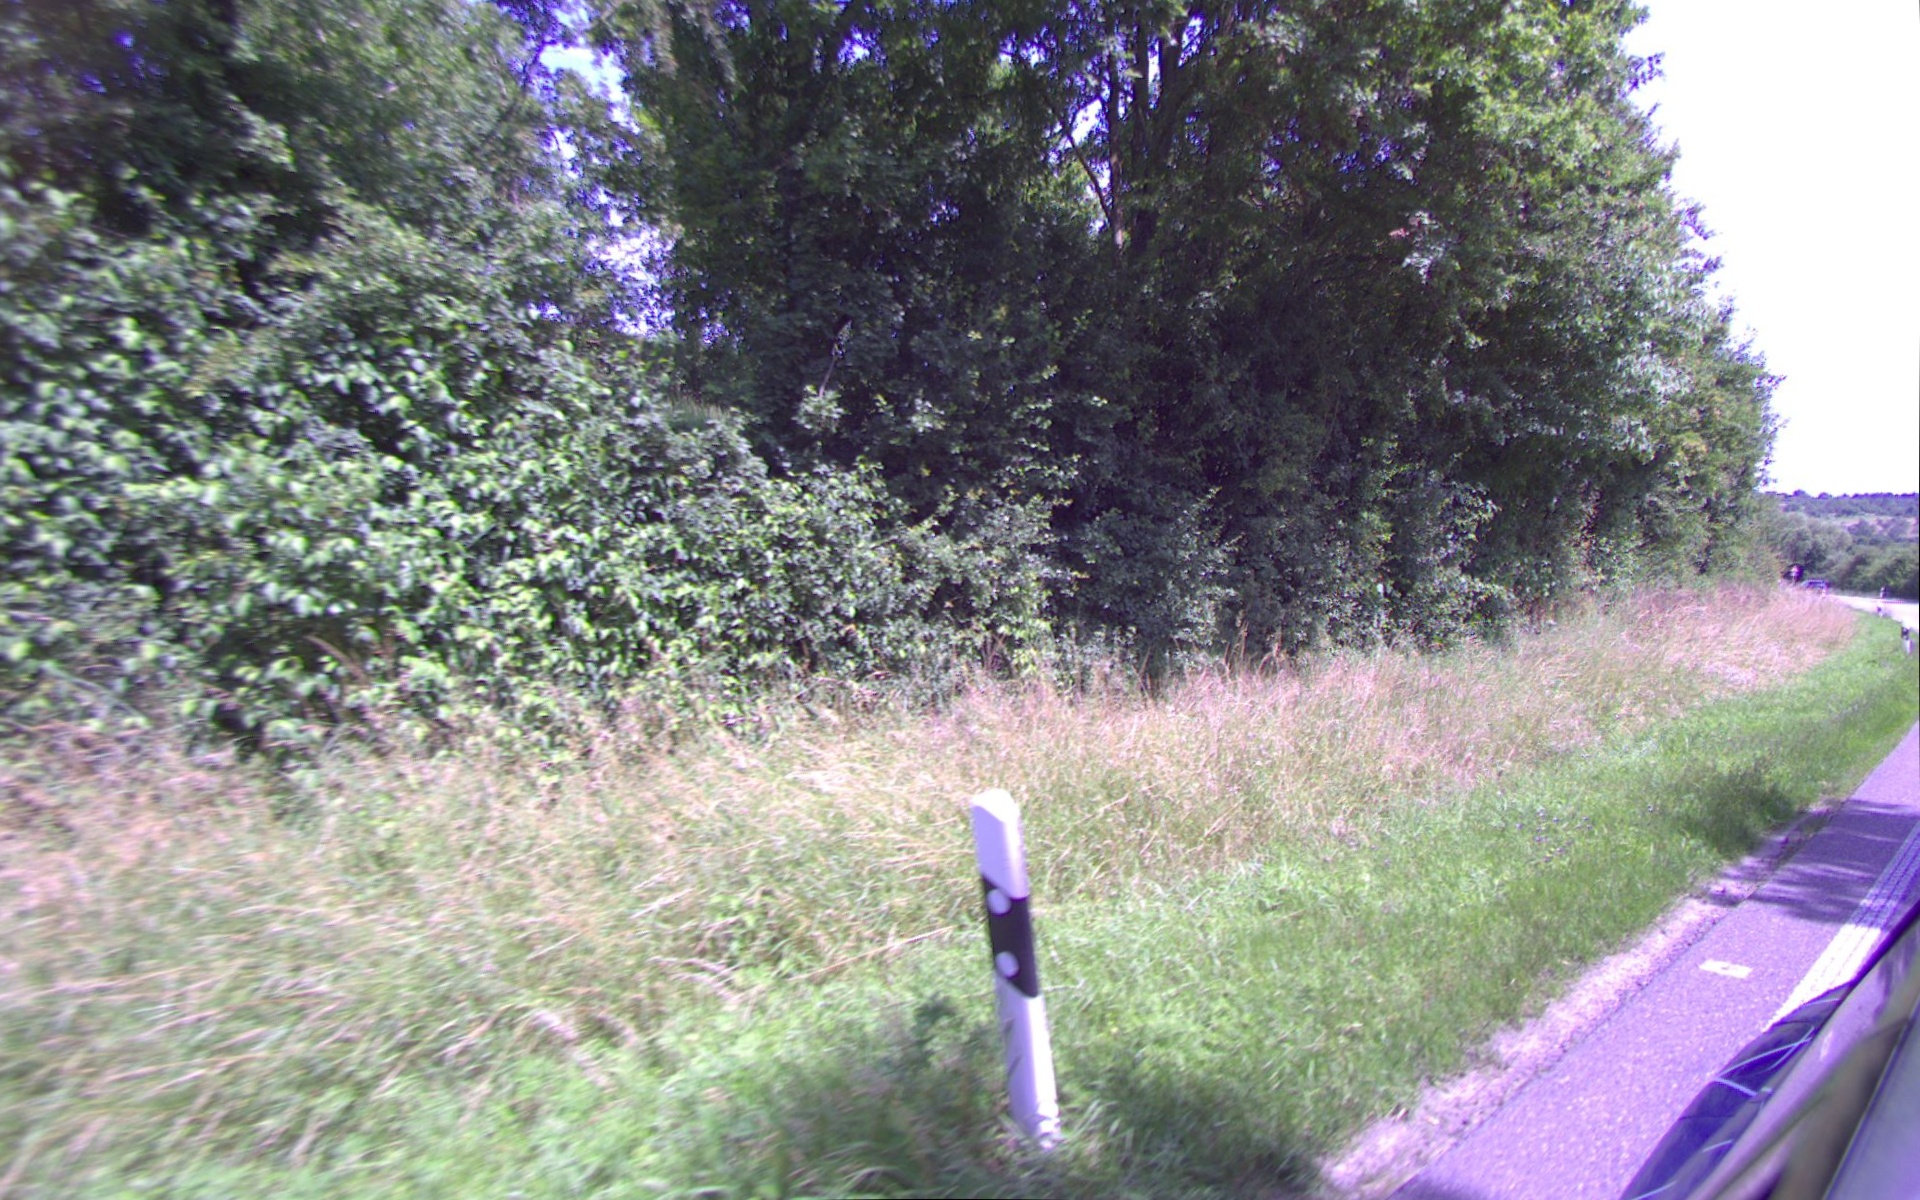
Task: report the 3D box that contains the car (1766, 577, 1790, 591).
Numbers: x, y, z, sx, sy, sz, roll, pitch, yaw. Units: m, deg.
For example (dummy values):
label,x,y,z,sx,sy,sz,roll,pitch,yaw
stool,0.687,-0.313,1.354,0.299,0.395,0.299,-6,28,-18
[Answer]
label,x,y,z,sx,sy,sz,roll,pitch,yaw
car,92.758,-1.807,114.794,1.420,1.489,3.241,1,2,27

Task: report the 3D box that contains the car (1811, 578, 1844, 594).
label,x,y,z,sx,sy,sz,roll,pitch,yaw
car,85.369,-1.422,99.622,1.701,1.489,4.329,1,2,30
